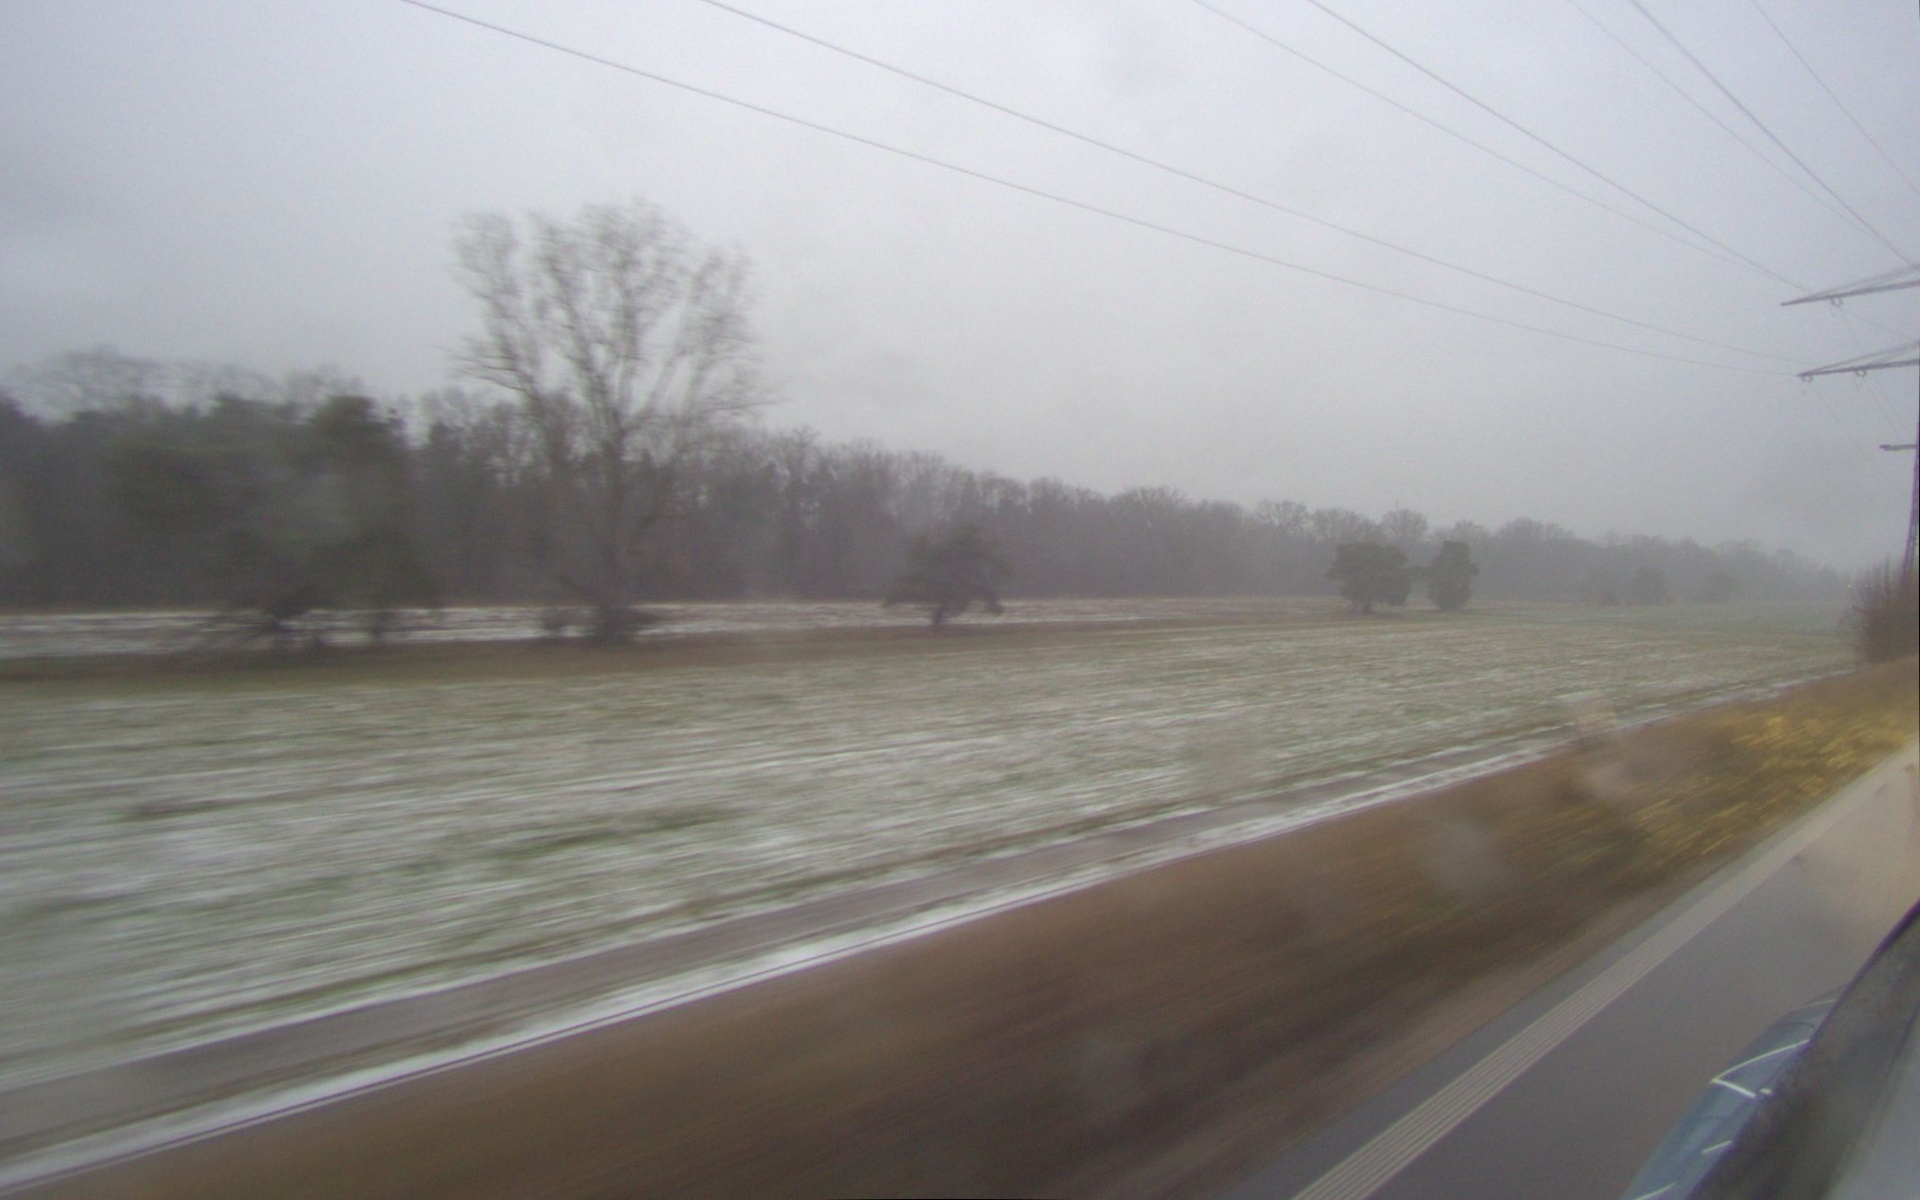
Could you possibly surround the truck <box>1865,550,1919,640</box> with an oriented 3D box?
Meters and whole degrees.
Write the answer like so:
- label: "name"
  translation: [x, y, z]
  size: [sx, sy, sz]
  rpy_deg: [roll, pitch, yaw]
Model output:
- label: "truck"
  translation: [35.008, -0.203, 36.460]
  size: [7.719, 3.015, 2.538]
  rpy_deg: [-1, 0, -40]
